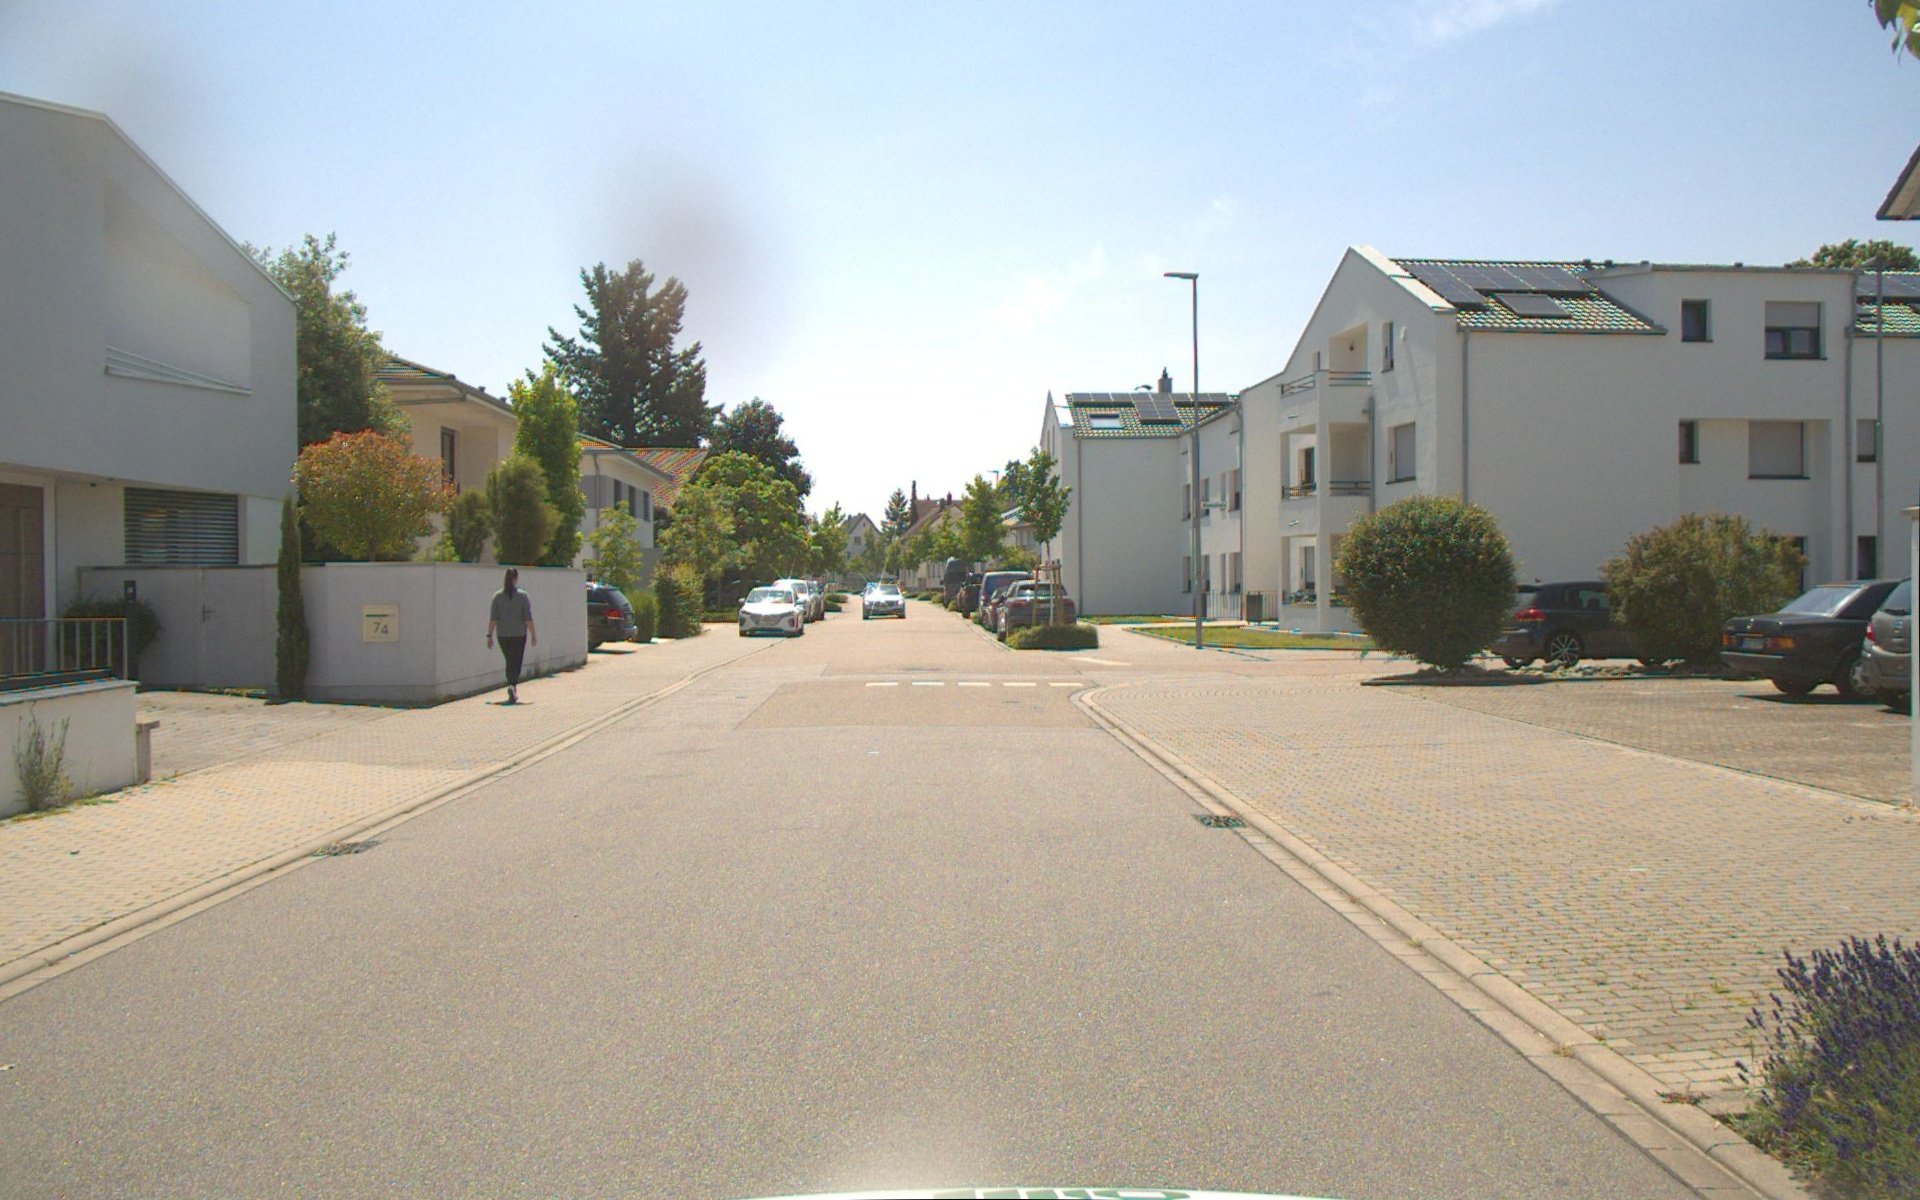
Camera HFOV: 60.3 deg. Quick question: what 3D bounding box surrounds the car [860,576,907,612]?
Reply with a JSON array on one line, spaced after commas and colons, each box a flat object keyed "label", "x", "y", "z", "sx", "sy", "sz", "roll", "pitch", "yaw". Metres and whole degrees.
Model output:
[{"label": "car", "x": -3.348, "y": -0.285, "z": 73.224, "sx": 1.815, "sy": 1.504, "sz": 4.700, "roll": -1, "pitch": 1, "yaw": 0}]

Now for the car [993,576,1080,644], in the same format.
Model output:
[{"label": "car", "x": 1.932, "y": 0.217, "z": 43.028, "sx": 1.738, "sy": 1.623, "sz": 4.276, "roll": -2, "pitch": 1, "yaw": -4}]

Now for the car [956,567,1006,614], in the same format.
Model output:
[{"label": "car", "x": 0.896, "y": -0.433, "z": 73.958, "sx": 1.953, "sy": 1.981, "sz": 5.213, "roll": -2, "pitch": 1, "yaw": -2}]

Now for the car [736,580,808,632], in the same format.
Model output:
[{"label": "car", "x": -5.789, "y": 0.165, "z": 51.314, "sx": 1.814, "sy": 1.514, "sz": 4.384, "roll": -1, "pitch": 1, "yaw": -2}]

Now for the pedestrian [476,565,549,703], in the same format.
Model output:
[{"label": "pedestrian", "x": -5.896, "y": 0.435, "z": 21.835, "sx": 0.700, "sy": 1.777, "sz": 0.960, "roll": -1, "pitch": 0, "yaw": -2}]

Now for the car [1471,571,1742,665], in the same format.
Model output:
[{"label": "car", "x": 10.897, "y": 0.281, "z": 28.061, "sx": 3.909, "sy": 1.493, "sz": 1.756, "roll": -1, "pitch": 1, "yaw": 1}]

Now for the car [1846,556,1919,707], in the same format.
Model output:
[{"label": "car", "x": 11.320, "y": 0.280, "z": 17.192, "sx": 3.377, "sy": 1.520, "sz": 1.663, "roll": -1, "pitch": 1, "yaw": -5}]

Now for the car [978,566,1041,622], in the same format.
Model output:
[{"label": "car", "x": 1.755, "y": -0.235, "z": 59.782, "sx": 2.057, "sy": 1.914, "sz": 4.842, "roll": -1, "pitch": 1, "yaw": -1}]

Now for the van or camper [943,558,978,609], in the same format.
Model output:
[{"label": "van or camper", "x": 0.025, "y": -1.009, "z": 98.906, "sx": 1.953, "sy": 2.993, "sz": 3.999, "roll": 0, "pitch": 0, "yaw": -2}]

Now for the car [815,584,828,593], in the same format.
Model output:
[{"label": "car", "x": -21.188, "y": -1.782, "z": 253.005, "sx": 1.629, "sy": 1.272, "sz": 3.930, "roll": -1, "pitch": 1, "yaw": -2}]

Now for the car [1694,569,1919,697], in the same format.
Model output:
[{"label": "car", "x": 11.112, "y": 0.339, "z": 19.626, "sx": 4.119, "sy": 1.398, "sz": 1.663, "roll": -1, "pitch": 1, "yaw": -5}]

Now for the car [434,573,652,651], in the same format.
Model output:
[{"label": "car", "x": -9.316, "y": 0.252, "z": 37.169, "sx": 4.337, "sy": 1.499, "sz": 1.851, "roll": 3, "pitch": 1, "yaw": 2}]

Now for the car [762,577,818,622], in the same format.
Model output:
[{"label": "car", "x": -6.772, "y": -0.041, "z": 66.297, "sx": 1.888, "sy": 1.716, "sz": 4.497, "roll": -1, "pitch": 1, "yaw": -2}]

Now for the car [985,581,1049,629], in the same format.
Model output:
[{"label": "car", "x": 1.788, "y": 0.139, "z": 53.132, "sx": 1.646, "sy": 1.467, "sz": 4.024, "roll": -1, "pitch": 1, "yaw": -4}]
